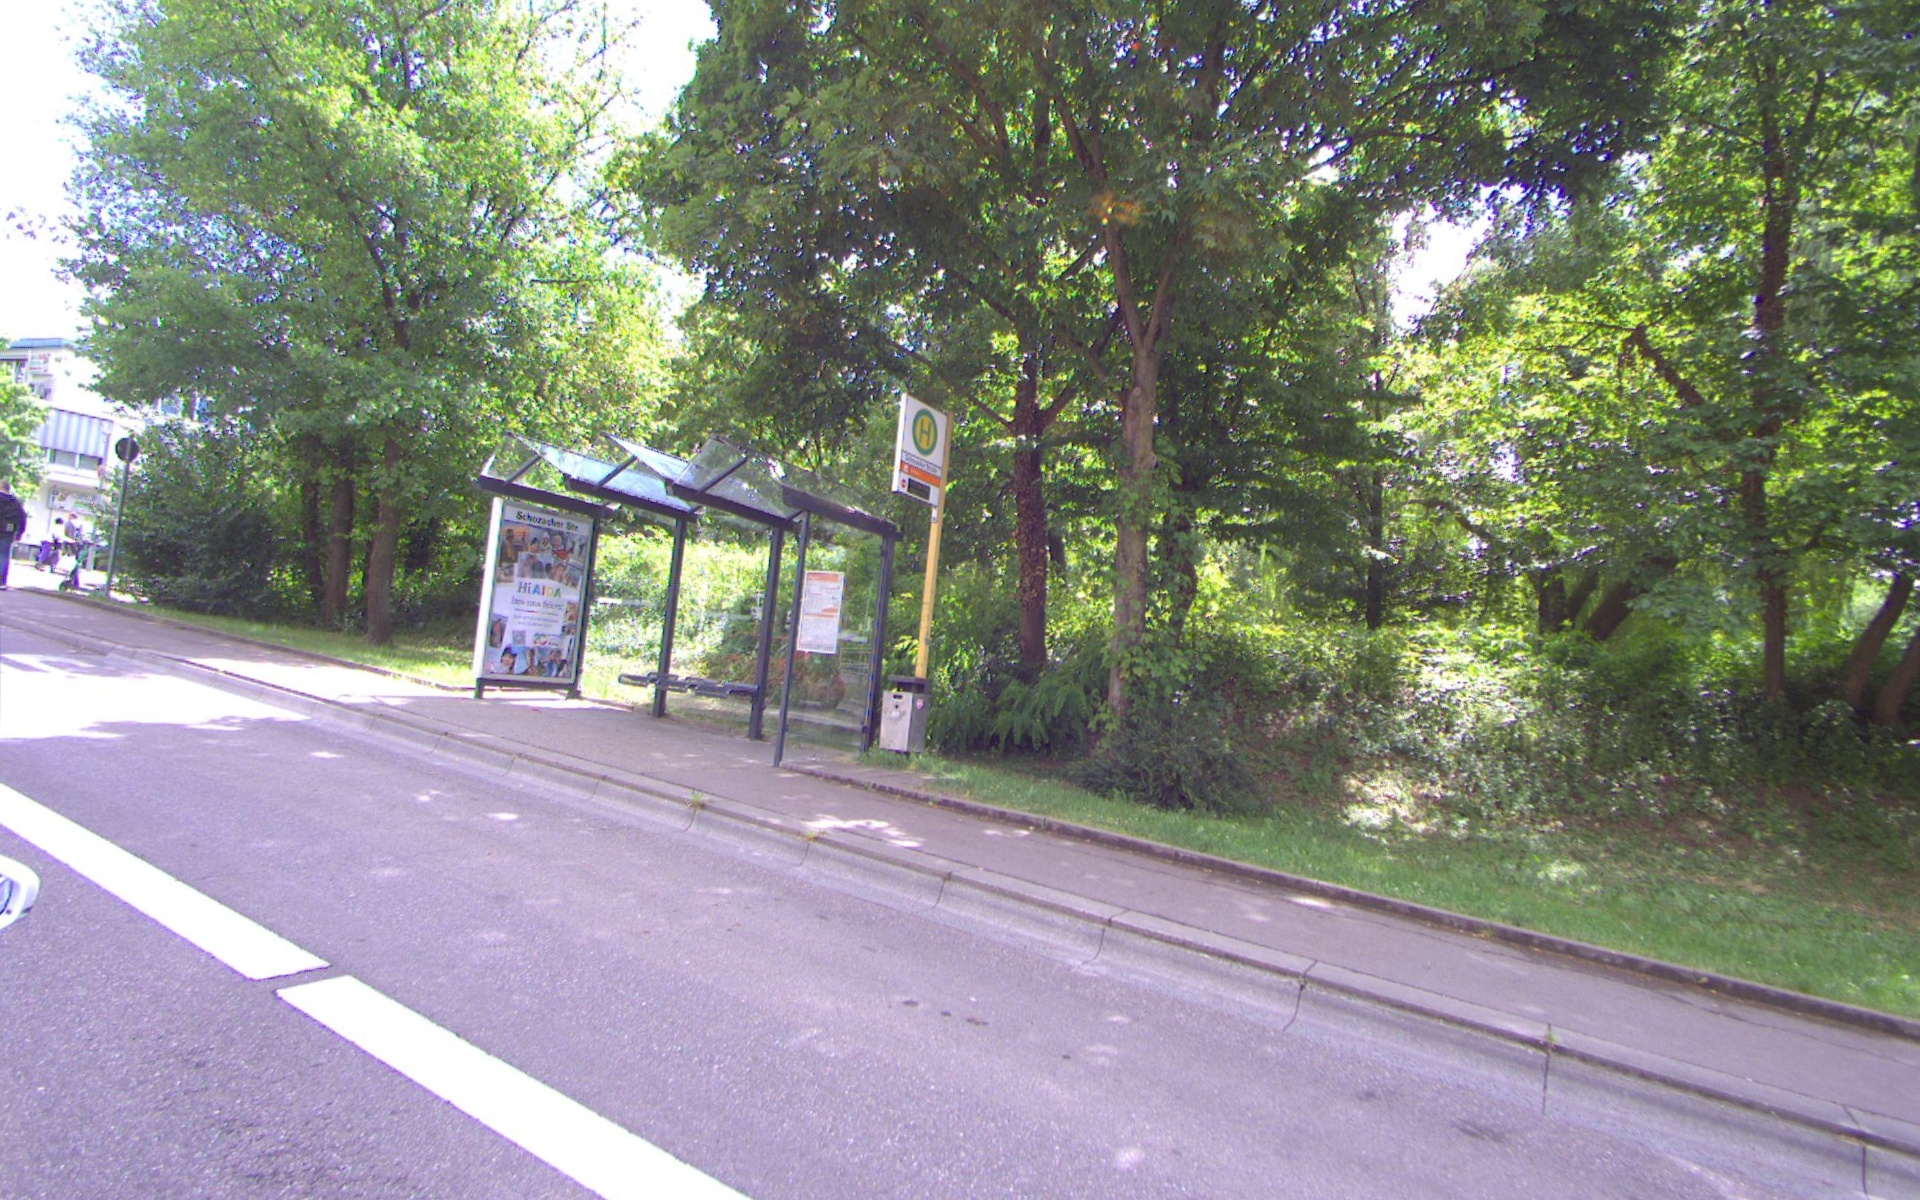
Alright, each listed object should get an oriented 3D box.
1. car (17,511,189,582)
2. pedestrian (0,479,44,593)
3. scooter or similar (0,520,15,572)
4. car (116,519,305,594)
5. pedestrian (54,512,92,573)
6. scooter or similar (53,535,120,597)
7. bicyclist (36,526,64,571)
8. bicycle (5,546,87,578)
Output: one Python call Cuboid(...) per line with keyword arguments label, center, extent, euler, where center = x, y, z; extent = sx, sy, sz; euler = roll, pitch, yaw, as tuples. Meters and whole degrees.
Cuboid(label="car", center=(-33.189, -2.025, 39.129), extent=(1.964, 2.037, 4.550), euler=(6, -2, 24))
Cuboid(label="pedestrian", center=(-16.855, -1.154, 17.625), extent=(0.997, 1.898, 0.796), euler=(6, -1, 34))
Cuboid(label="scooter or similar", center=(-24.918, -1.460, 25.521), extent=(0.546, 1.286, 1.153), euler=(6, -3, 34))
Cuboid(label="car", center=(-27.588, -1.535, 37.301), extent=(1.964, 1.914, 5.190), euler=(7, -3, 23))
Cuboid(label="pedestrian", center=(-26.420, -1.712, 29.971), extent=(0.654, 1.733, 0.457), euler=(8, -1, -37))
Cuboid(label="scooter or similar", center=(-20.258, -0.791, 23.348), extent=(0.447, 1.242, 0.893), euler=(6, -6, 32))
Cuboid(label="bicyclist", center=(-24.961, -1.409, 27.589), extent=(0.397, 1.169, 0.497), euler=(10, -3, -39))
Cuboid(label="bicycle", center=(-25.005, -1.037, 27.544), extent=(1.578, 0.617, 0.529), euler=(9, -2, -38))
